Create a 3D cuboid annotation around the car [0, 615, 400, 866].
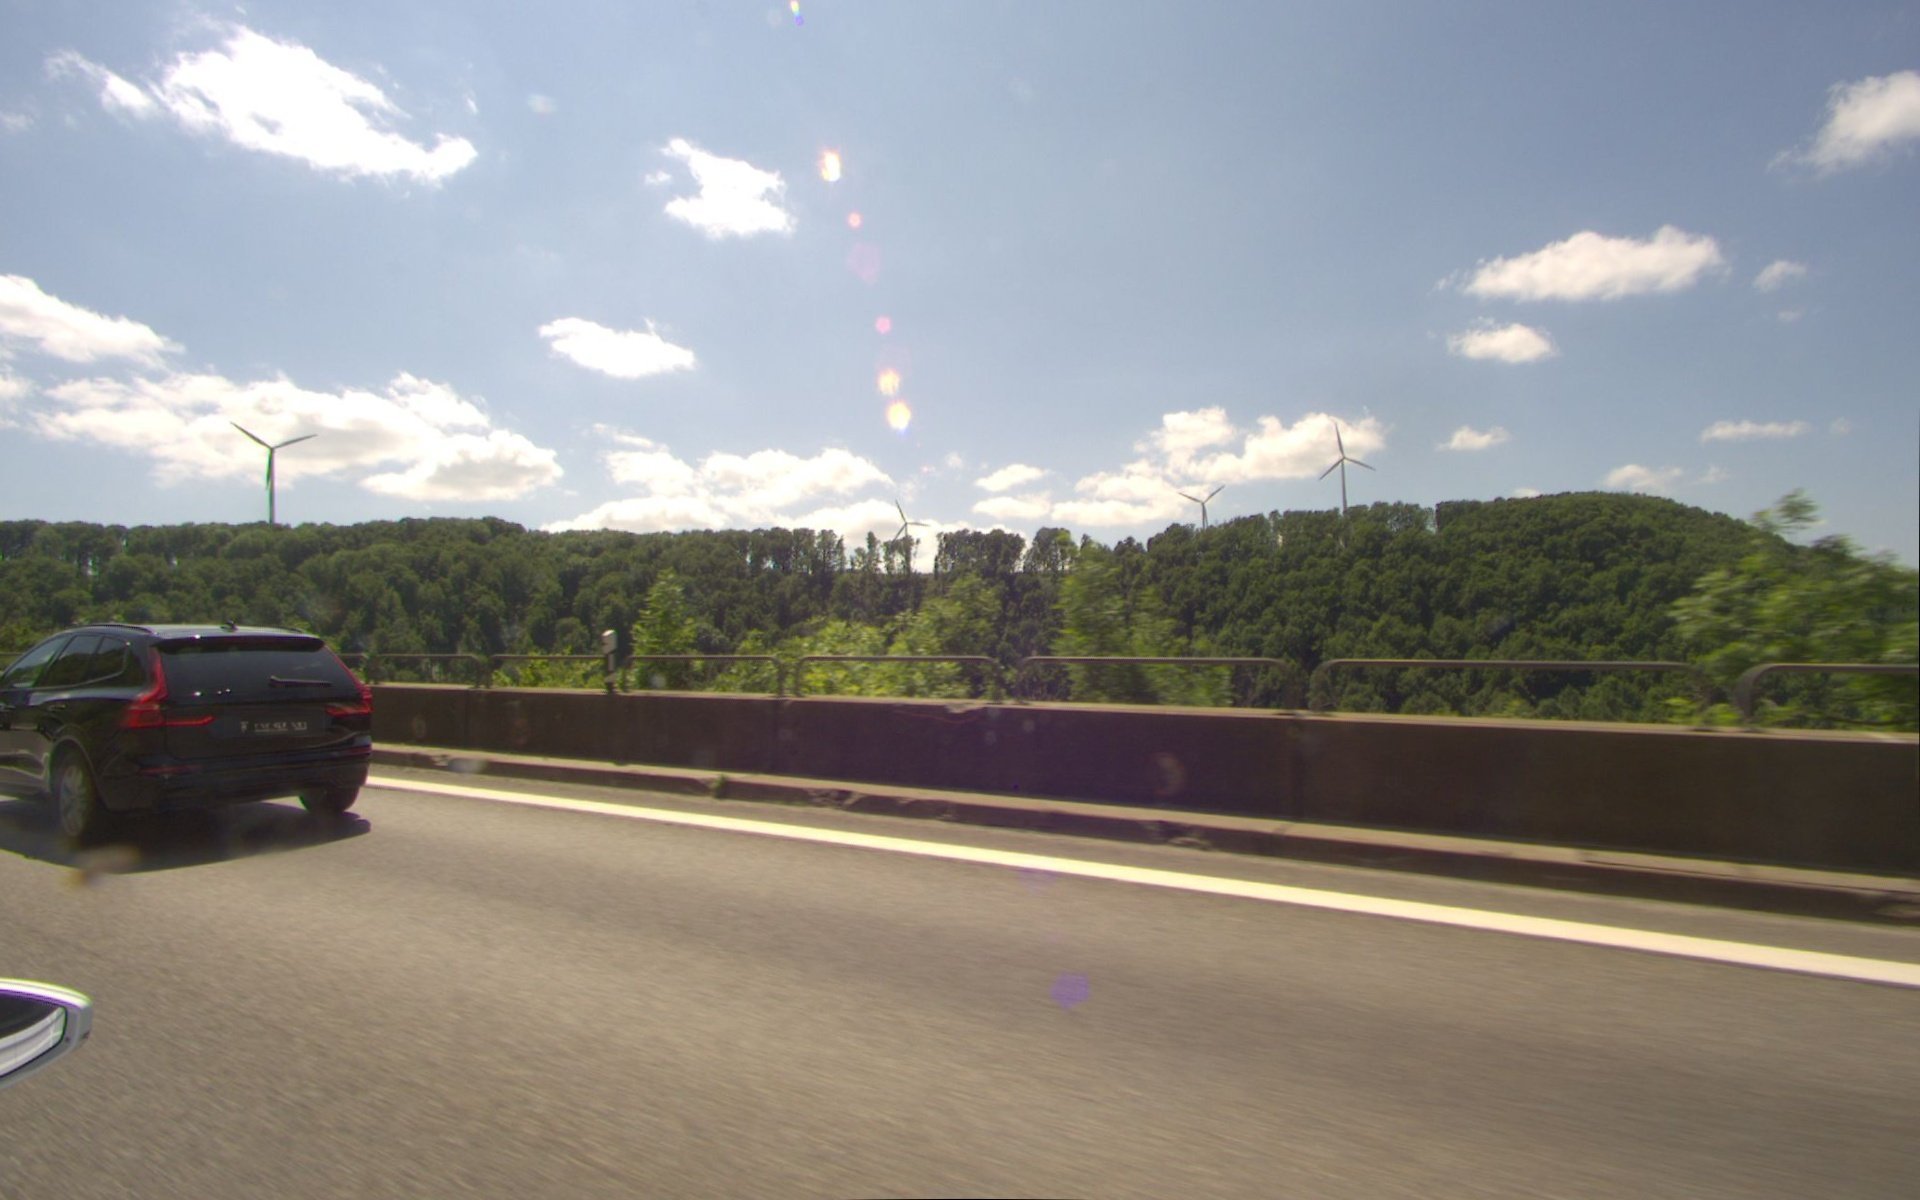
[{"bbox_3d":[-7.003,0.987,8.579,4.594,1.654,1.832,-1,-1,31],"label":"car"}]
